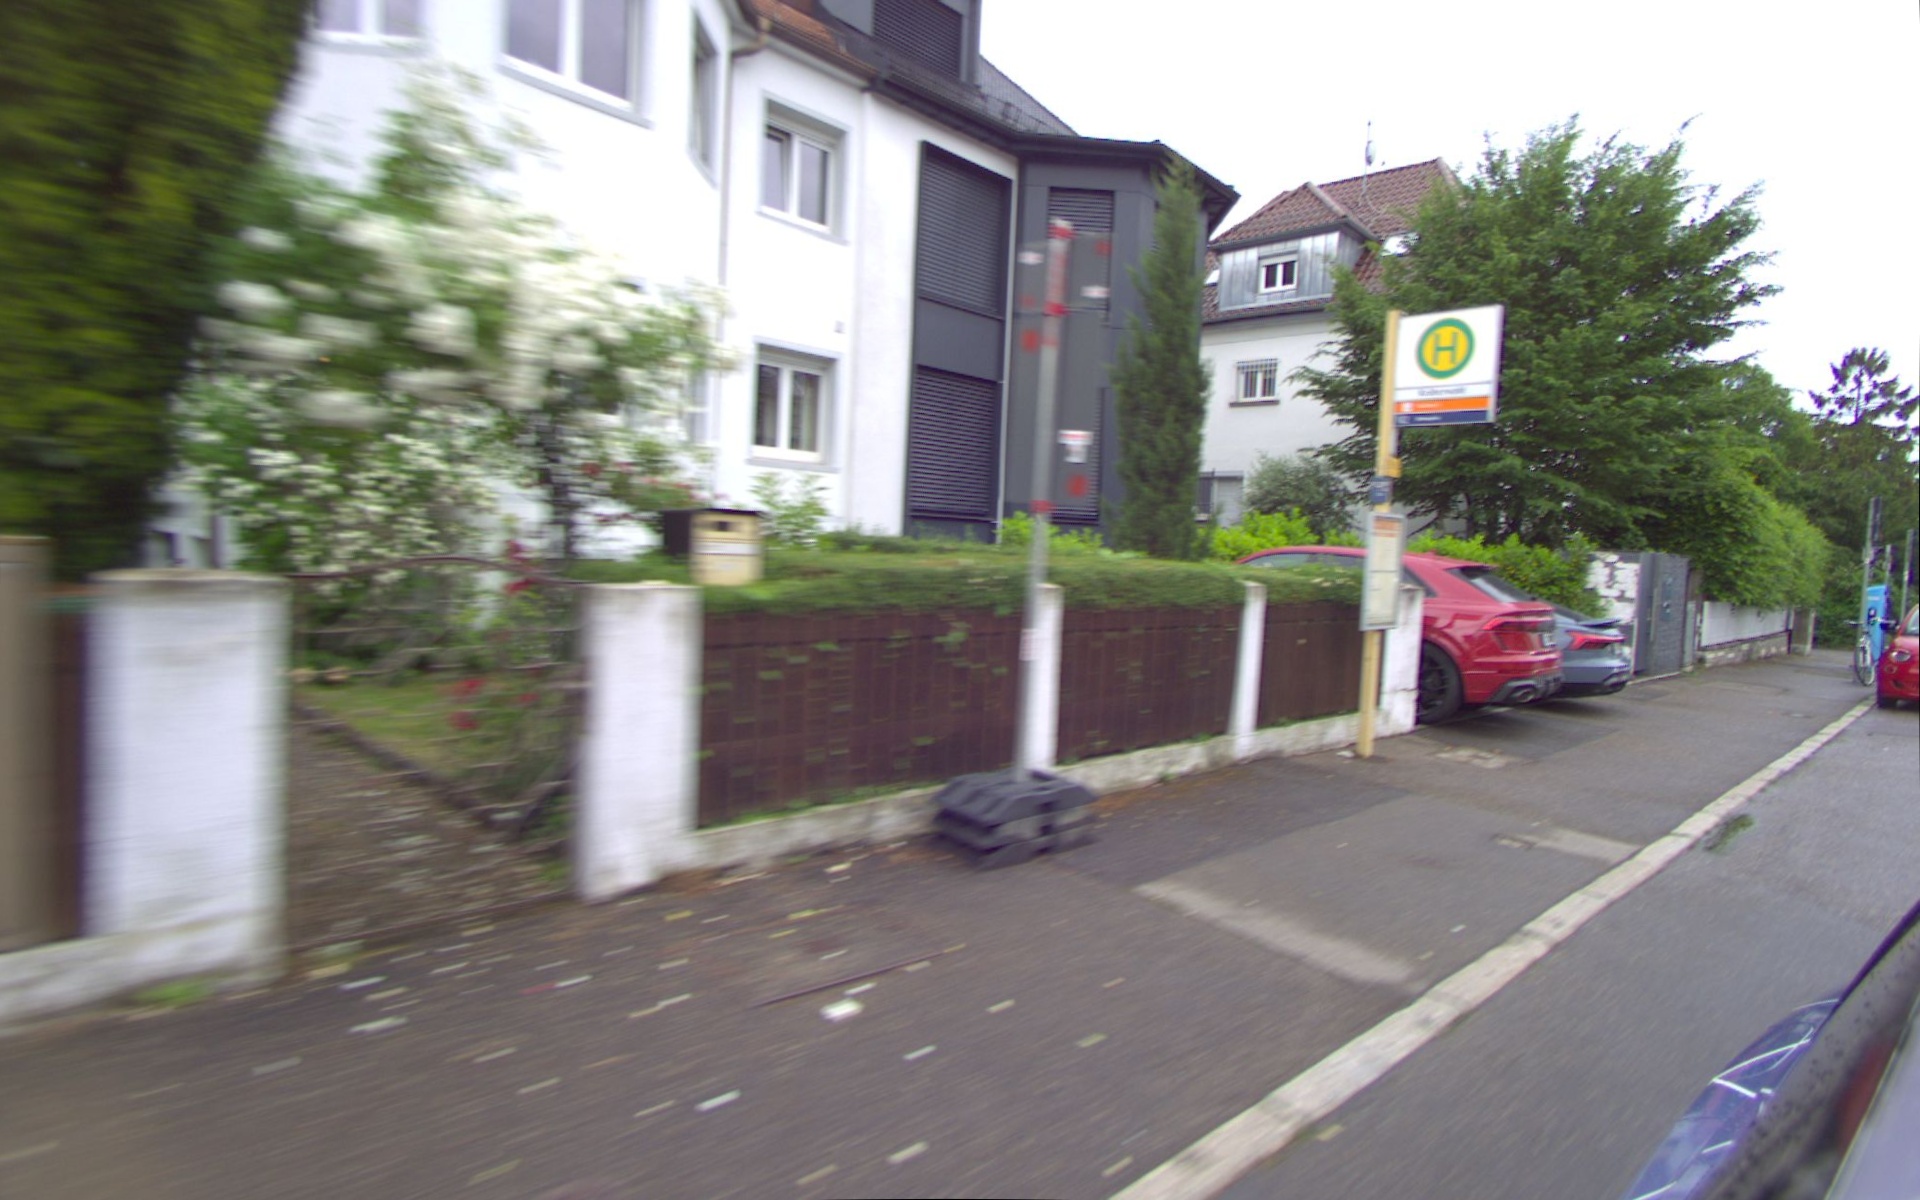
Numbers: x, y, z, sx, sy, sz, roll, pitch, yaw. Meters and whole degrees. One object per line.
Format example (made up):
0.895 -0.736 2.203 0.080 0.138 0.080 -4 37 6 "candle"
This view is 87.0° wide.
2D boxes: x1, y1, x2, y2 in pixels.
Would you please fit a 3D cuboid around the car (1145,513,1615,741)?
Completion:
4.279 0.120 10.694 4.075 1.771 1.969 8 5 42 "car"

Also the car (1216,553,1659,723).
5.765 0.317 12.606 4.548 1.433 1.970 8 5 42 "car"

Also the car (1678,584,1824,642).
29.351 0.436 37.620 1.742 1.882 3.993 0 3 -43 "car"

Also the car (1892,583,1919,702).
14.324 0.615 14.033 3.478 1.556 1.615 1 2 -41 "car"
